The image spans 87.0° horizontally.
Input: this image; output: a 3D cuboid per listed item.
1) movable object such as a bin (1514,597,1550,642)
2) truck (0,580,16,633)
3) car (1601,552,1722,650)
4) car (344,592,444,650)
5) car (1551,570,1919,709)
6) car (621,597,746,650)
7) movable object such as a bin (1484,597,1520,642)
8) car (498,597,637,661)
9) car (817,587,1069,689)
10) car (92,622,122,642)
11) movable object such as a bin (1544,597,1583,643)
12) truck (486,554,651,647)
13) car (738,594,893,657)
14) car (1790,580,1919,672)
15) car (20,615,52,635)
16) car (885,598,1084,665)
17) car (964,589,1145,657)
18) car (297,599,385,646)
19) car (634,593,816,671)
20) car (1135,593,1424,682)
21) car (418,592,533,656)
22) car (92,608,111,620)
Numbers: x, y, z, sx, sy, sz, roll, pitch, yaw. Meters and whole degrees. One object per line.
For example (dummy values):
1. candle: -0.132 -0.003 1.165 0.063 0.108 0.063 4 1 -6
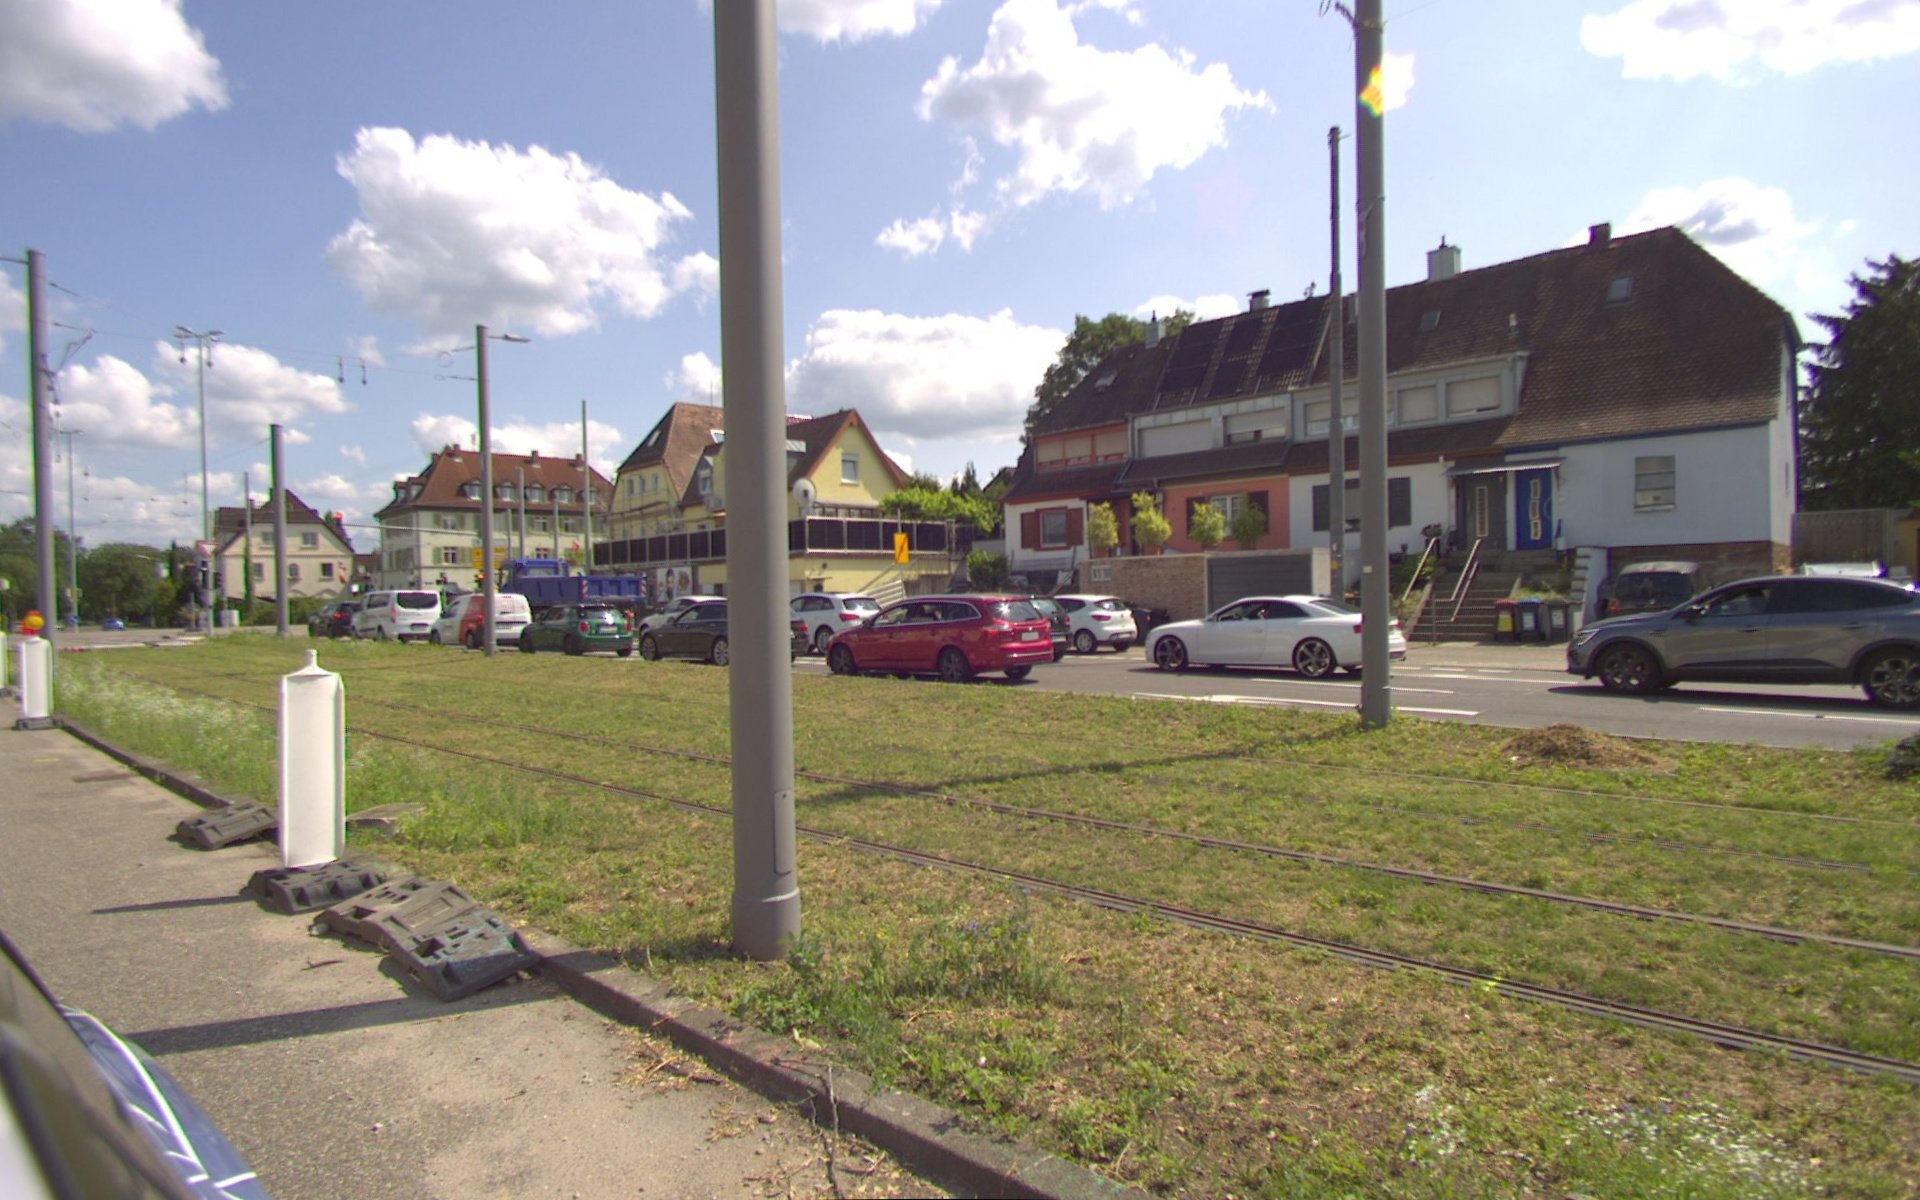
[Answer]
1. movable object such as a bin: 12.392 0.419 21.934 0.582 0.959 0.511 -1 0 41
2. truck: -99.844 0.780 104.415 3.427 5.223 14.232 -1 0 -43
3. car: 14.747 0.003 21.189 1.800 1.859 3.948 -1 0 39
4. car: -21.036 0.755 37.537 4.541 1.979 1.897 -1 0 42
5. car: 10.401 0.437 12.782 1.704 1.538 4.776 -1 0 -42
6. car: -8.990 0.737 32.654 4.541 1.574 1.707 -1 0 42
7. movable object such as a bin: 11.954 0.427 22.320 0.582 0.959 0.511 -1 0 41
8. car: -10.796 0.761 27.678 4.541 1.574 1.707 -1 0 42
9. car: -0.419 0.607 17.914 4.542 1.574 1.706 -1 0 43
10. car: -85.799 3.197 101.855 2.251 1.887 4.993 -1 0 -40
11. movable object such as a bin: 12.844 0.414 21.538 0.609 0.959 0.511 -1 0 41
12. truck: -14.907 0.043 38.137 2.803 3.178 7.938 -1 0 -45
13. car: -4.020 0.671 27.586 4.542 1.574 1.706 -1 0 43
14. car: 16.997 0.426 19.328 1.680 1.567 3.840 -1 0 39
15. car: -93.780 2.533 102.711 2.252 1.887 4.989 -1 0 -44
16. car: 0.448 0.666 22.736 1.706 1.345 4.544 -1 0 -45
17. car: 2.346 0.567 26.057 4.542 1.574 1.706 -1 0 43
18. car: -25.652 0.907 41.901 4.541 1.794 1.897 -1 0 42
19. car: -5.392 0.683 22.832 4.644 1.574 1.706 -1 0 43
20. car: 5.451 0.598 17.728 1.706 1.345 4.544 -1 0 -45
21. car: -15.544 0.739 32.339 4.541 1.868 1.707 -1 0 42
22. car: -120.388 1.976 141.934 4.174 1.603 1.698 -1 0 45
